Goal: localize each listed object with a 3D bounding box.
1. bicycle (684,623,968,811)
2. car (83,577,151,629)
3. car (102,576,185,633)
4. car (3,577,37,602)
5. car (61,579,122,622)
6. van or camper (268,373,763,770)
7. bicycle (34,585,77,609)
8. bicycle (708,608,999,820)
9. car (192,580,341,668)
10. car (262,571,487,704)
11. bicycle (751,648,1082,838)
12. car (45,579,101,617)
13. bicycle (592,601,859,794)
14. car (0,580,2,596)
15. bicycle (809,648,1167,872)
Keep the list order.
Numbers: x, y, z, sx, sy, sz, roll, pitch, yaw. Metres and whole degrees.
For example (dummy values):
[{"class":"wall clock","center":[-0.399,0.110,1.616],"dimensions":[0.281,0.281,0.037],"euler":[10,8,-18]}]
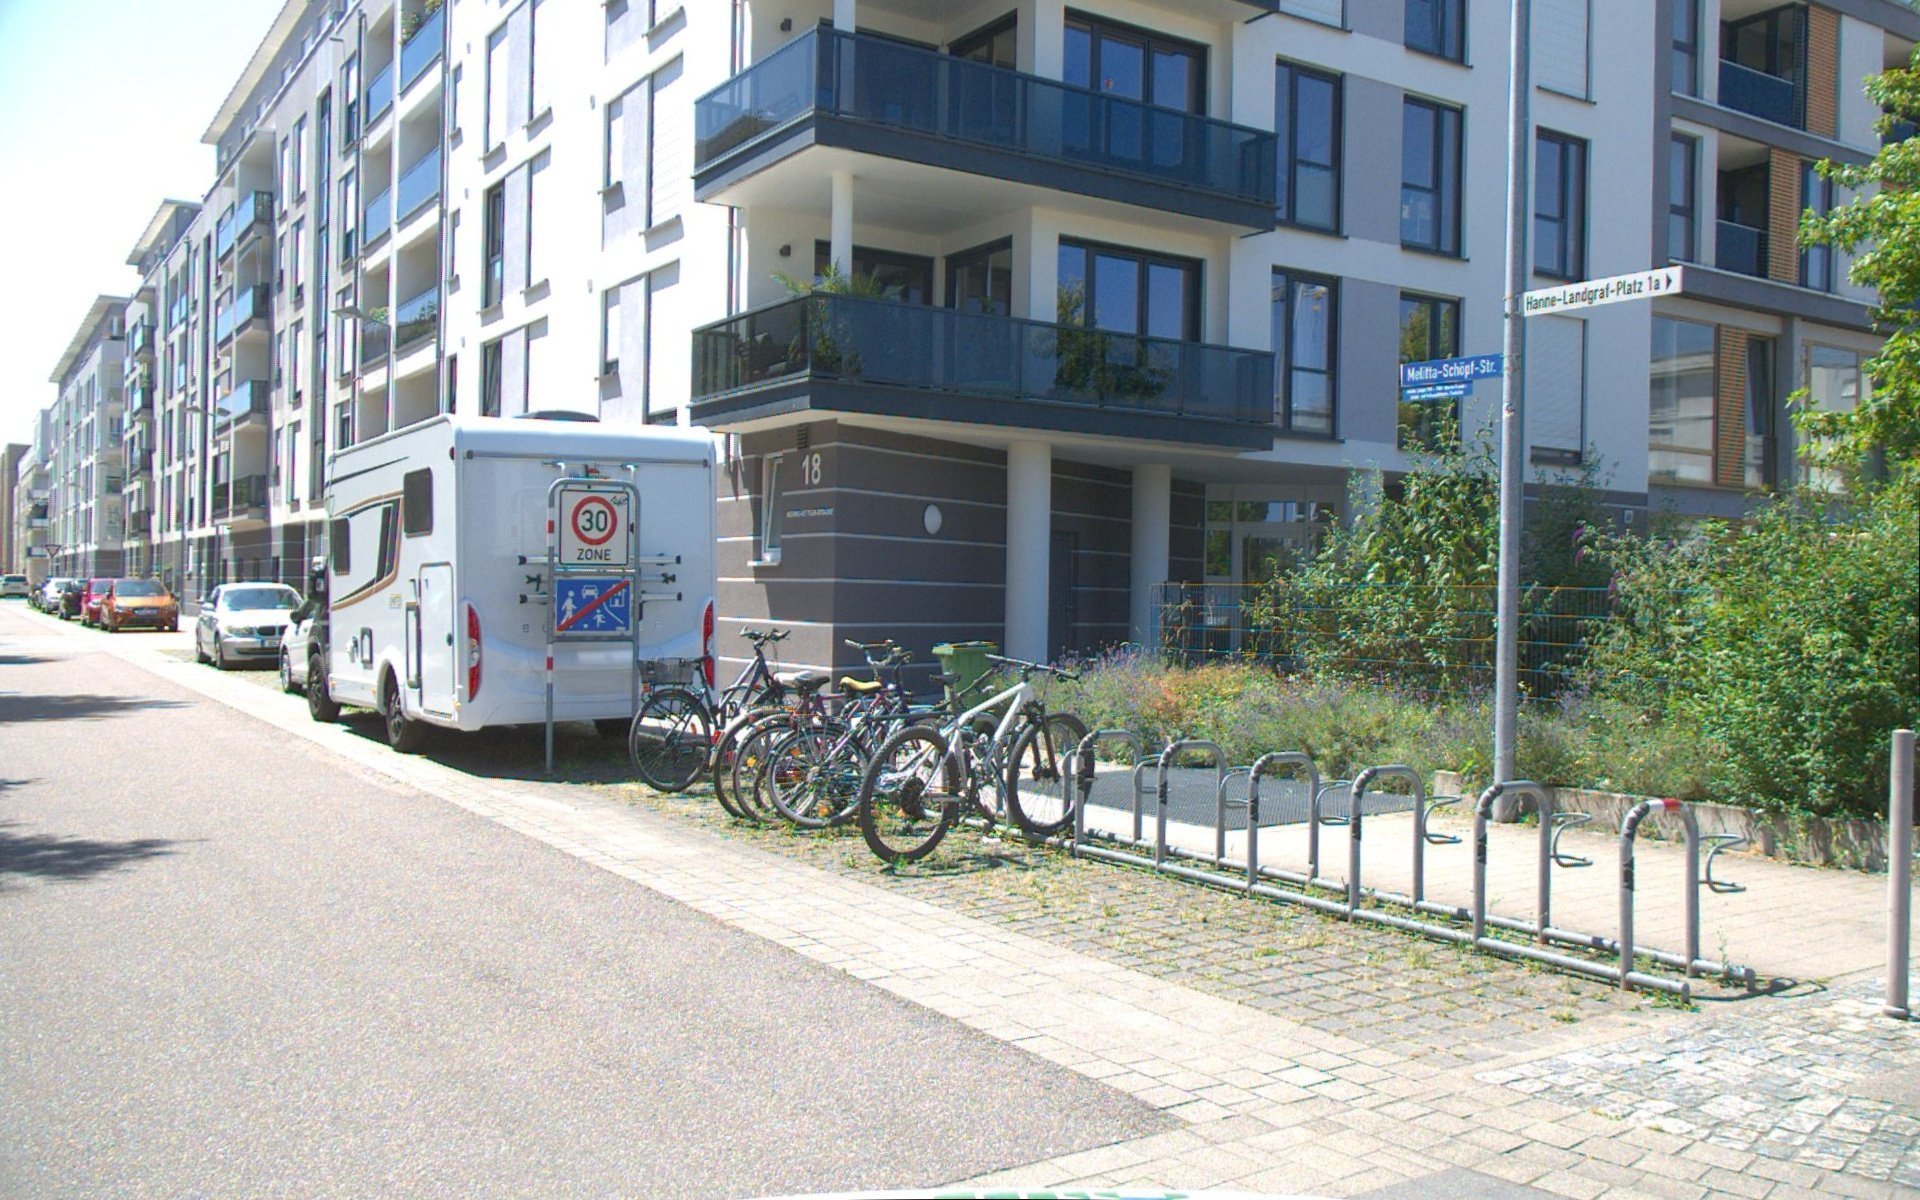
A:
[{"class":"bicycle","center":[-0.861,0.732,10.921],"dimensions":[1.864,1.130,0.471],"euler":[0,1,-32]},{"class":"car","center":[-26.386,0.069,51.736],"dimensions":[1.580,1.511,3.636],"euler":[-2,2,-32]},{"class":"car","center":[-23.335,0.095,47.191],"dimensions":[1.721,1.513,4.212],"euler":[-1,1,-32]},{"class":"car","center":[-66.242,-0.762,116.542],"dimensions":[1.978,1.686,4.071],"euler":[-1,1,-31]},{"class":"car","center":[-31.501,-0.007,59.933],"dimensions":[1.627,1.488,4.072],"euler":[-2,2,-32]},{"class":"van or camper","center":[-4.750,-0.192,16.253],"dimensions":[2.416,2.957,7.737],"euler":[1,-1,-33]},{"class":"bicycle","center":[-44.820,-0.163,81.984],"dimensions":[0.452,1.168,1.831],"euler":[0,1,38]},{"class":"bicycle","center":[-0.660,0.685,10.606],"dimensions":[1.831,1.244,0.550],"euler":[0,1,-32]},{"class":"car","center":[-12.369,0.378,29.352],"dimensions":[1.827,1.441,4.379],"euler":[0,0,-31]},{"class":"car","center":[-7.766,0.414,21.714],"dimensions":[1.791,1.531,4.210],"euler":[-1,1,-34]},{"class":"bicycle","center":[-0.278,0.830,10.108],"dimensions":[1.826,0.992,0.939],"euler":[-1,1,-20]},{"class":"car","center":[-37.330,-0.110,69.575],"dimensions":[1.816,1.531,4.303],"euler":[-2,1,-32]},{"class":"bicycle","center":[-1.711,0.667,12.329],"dimensions":[0.812,1.244,1.911],"euler":[1,3,41]},{"class":"car","center":[-102.143,-1.268,174.183],"dimensions":[1.975,1.704,3.954],"euler":[0,0,-33]},{"class":"bicycle","center":[0.200,0.828,9.288],"dimensions":[2.018,1.020,0.861],"euler":[-1,1,-45]}]
